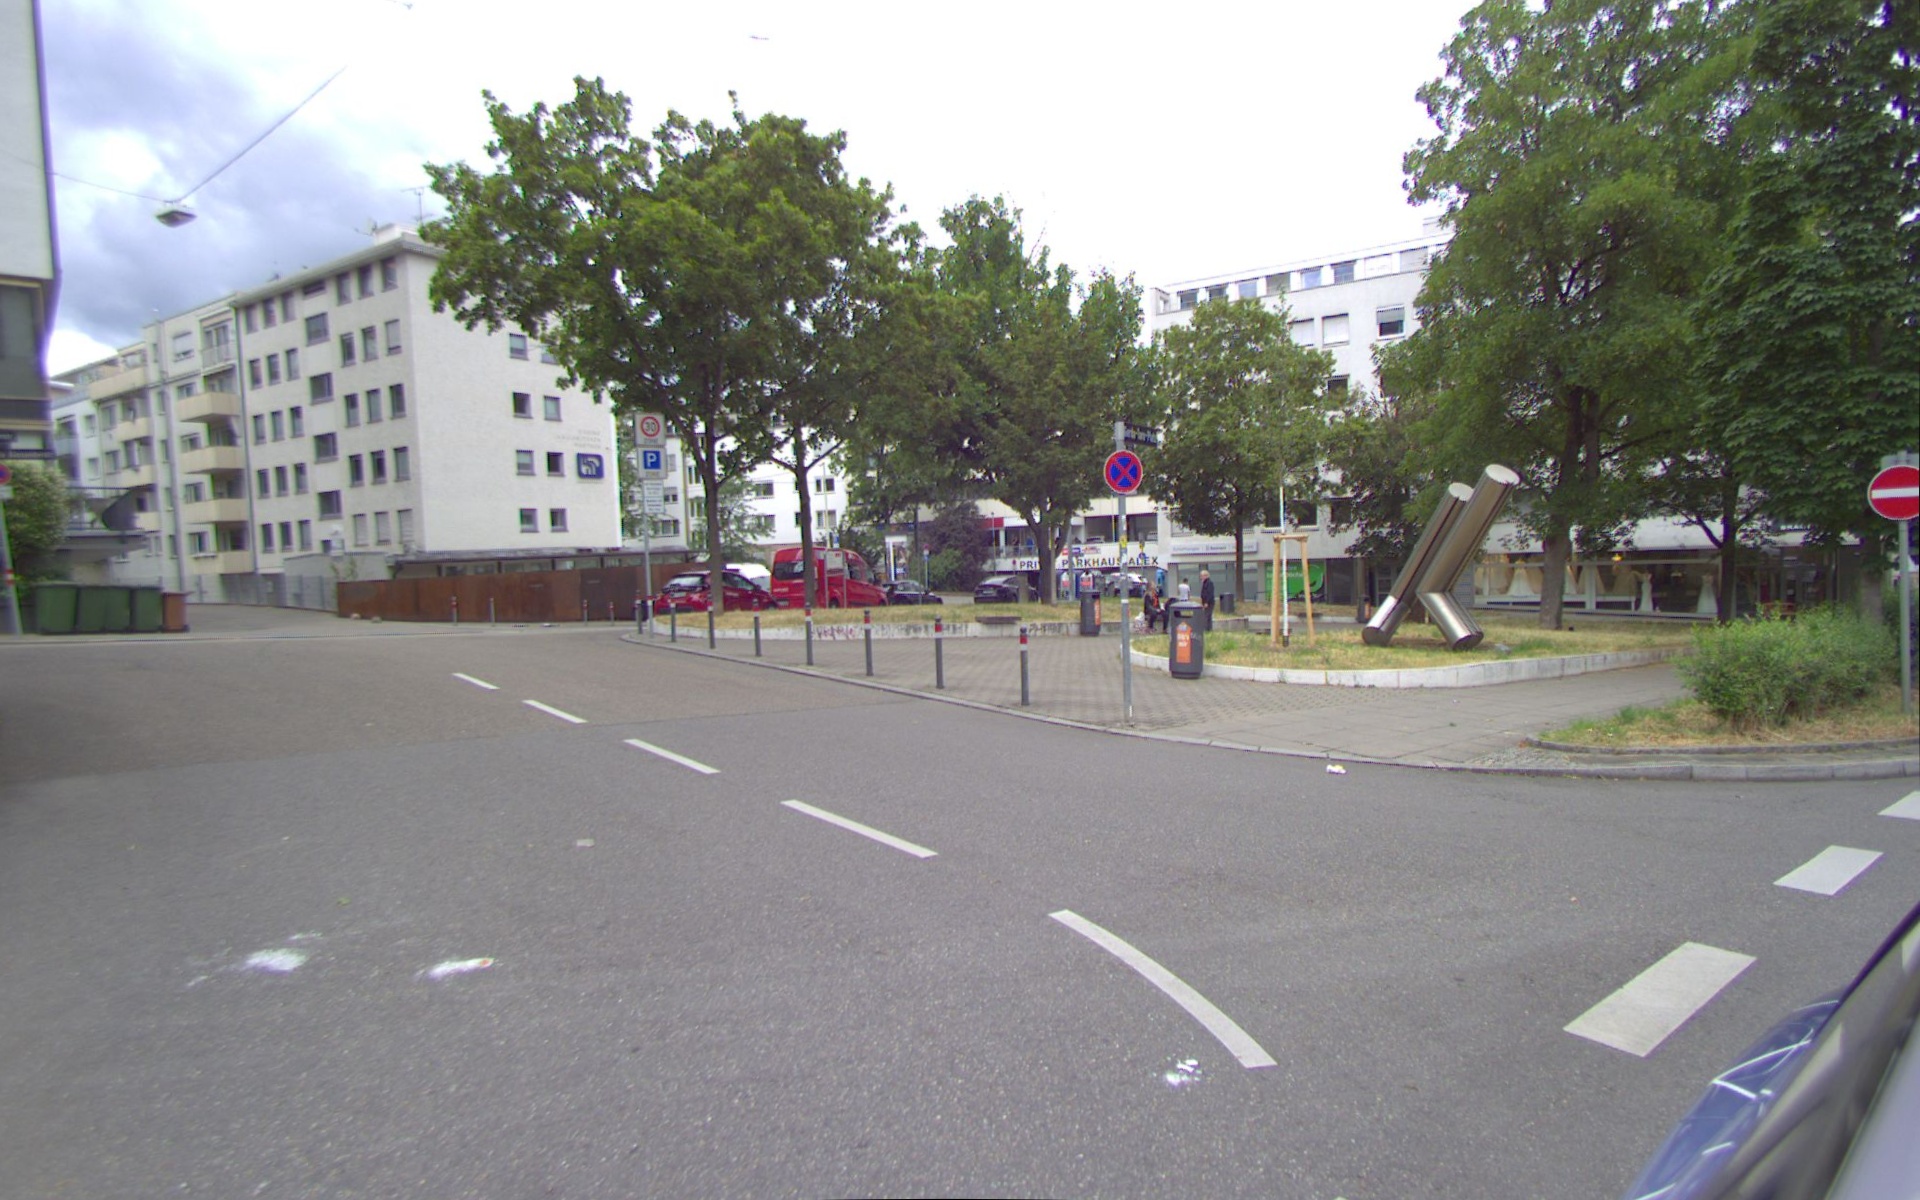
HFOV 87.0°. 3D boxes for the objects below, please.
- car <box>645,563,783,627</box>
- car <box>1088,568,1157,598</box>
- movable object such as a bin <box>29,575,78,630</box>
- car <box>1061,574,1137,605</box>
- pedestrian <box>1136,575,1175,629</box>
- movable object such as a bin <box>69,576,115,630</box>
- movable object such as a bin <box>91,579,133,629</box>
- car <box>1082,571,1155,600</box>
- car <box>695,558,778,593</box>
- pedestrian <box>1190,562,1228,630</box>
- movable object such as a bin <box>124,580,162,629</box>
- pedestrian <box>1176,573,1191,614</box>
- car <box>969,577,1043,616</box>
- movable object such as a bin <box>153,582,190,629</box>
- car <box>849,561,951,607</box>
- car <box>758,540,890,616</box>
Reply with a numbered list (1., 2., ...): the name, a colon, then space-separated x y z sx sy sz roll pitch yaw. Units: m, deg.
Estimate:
1. car: -6.531 -0.159 27.216 1.730 1.584 3.687 1 1 24
2. car: 10.221 -1.064 63.883 3.979 1.708 1.666 -2 -1 39
3. movable object such as a bin: -18.171 0.042 20.292 0.549 1.092 0.604 1 1 30
4. car: 8.102 -0.653 59.119 3.984 1.738 1.970 2 2 42
5. pedestrian: 4.840 0.034 25.096 0.671 1.308 0.657 0 1 -30
6. movable object such as a bin: -17.845 0.046 20.814 0.549 1.083 0.570 1 1 30
7. movable object such as a bin: -18.097 0.083 21.598 0.531 1.054 0.533 1 1 30
8. car: 9.624 -0.905 61.582 3.984 1.738 1.970 2 2 42
9. car: -12.547 -1.368 56.647 4.585 1.901 2.076 1 1 37
10. pedestrian: 6.102 -0.107 24.802 0.720 1.622 0.785 1 1 28
11. movable object such as a bin: -17.834 0.086 22.085 0.542 1.037 0.490 1 1 30
12. pedestrian: 8.479 -0.260 38.400 0.520 1.552 0.672 1 1 11
13. car: 2.260 -0.190 48.383 1.978 1.762 4.746 1 1 24
14. movable object such as a bin: -17.575 0.106 22.548 0.542 1.030 0.490 1 1 30
15. car: -2.131 -0.597 37.439 1.978 1.584 4.380 1 1 24
16. car: -4.280 -0.697 32.675 2.102 2.241 4.858 1 1 22
